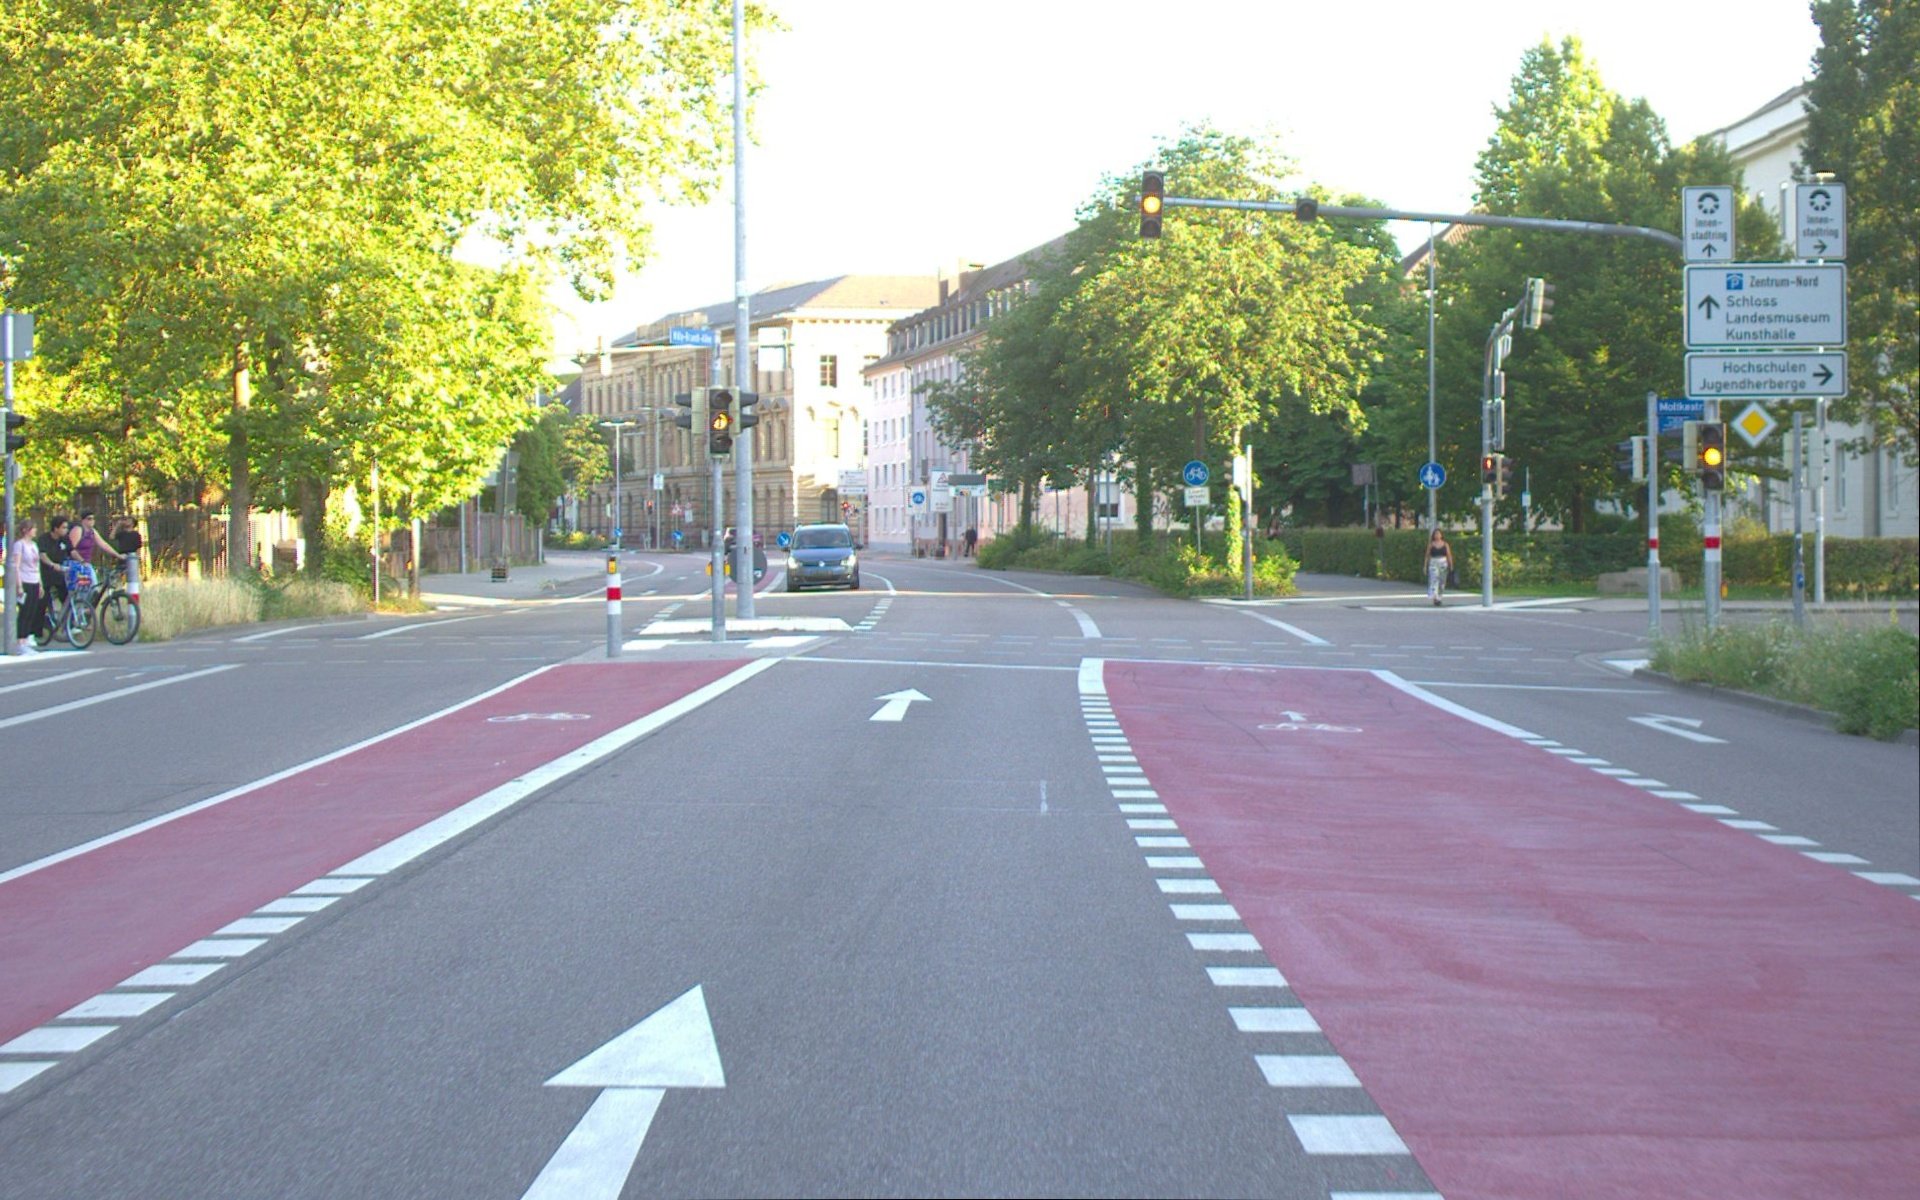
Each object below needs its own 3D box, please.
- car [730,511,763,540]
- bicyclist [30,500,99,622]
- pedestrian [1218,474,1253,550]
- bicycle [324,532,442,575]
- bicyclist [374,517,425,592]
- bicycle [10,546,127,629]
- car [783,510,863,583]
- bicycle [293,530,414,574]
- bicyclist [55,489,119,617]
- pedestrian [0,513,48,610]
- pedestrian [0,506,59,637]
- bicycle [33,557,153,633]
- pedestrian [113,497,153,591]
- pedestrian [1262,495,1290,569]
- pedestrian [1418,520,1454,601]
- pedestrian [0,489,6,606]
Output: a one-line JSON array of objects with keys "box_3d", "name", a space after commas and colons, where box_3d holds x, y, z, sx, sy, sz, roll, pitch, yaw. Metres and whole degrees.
[{"box_3d": [-12.140, -4.258, 195.727, 1.819, 1.583, 4.001, -1, 2, -3], "name": "car"}, {"box_3d": [-12.141, -0.530, 46.616, 0.638, 1.644, 0.629, 1, 1, 32], "name": "bicyclist"}, {"box_3d": [7.451, -2.378, 92.970, 0.870, 2.007, 0.722, 1, 1, 1], "name": "pedestrian"}, {"box_3d": [-12.564, -1.019, 74.952, 2.430, 0.921, 0.775, 0, 1, 2], "name": "bicycle"}, {"box_3d": [-12.216, -0.998, 74.927, 0.958, 1.625, 0.753, 0, 1, 2], "name": "bicyclist"}, {"box_3d": [-12.087, -0.179, 46.587, 1.566, 1.107, 0.632, 1, 1, 32], "name": "bicycle"}, {"box_3d": [-3.383, -1.346, 85.468, 1.849, 1.714, 4.296, -2, 1, -1], "name": "car"}, {"box_3d": [-12.976, -1.034, 73.599, 2.430, 0.921, 0.775, 0, 1, 2], "name": "bicycle"}, {"box_3d": [-12.247, -0.663, 48.214, 0.638, 1.774, 0.575, 1, 1, 32], "name": "bicyclist"}, {"box_3d": [-19.673, -0.813, 72.090, 0.802, 2.007, 0.994, 1, 1, 1], "name": "pedestrian"}, {"box_3d": [-12.012, -0.370, 44.388, 0.607, 1.690, 0.498, 0, 1, 3], "name": "pedestrian"}, {"box_3d": [-12.149, -0.077, 48.166, 1.769, 1.026, 0.578, 1, 1, 32], "name": "bicycle"}, {"box_3d": [-17.691, -1.196, 73.557, 0.640, 2.007, 0.701, 0, 1, 3], "name": "pedestrian"}, {"box_3d": [8.602, -1.857, 93.587, 0.635, 2.007, 0.720, 1, 1, -2], "name": "pedestrian"}, {"box_3d": [9.697, -0.815, 70.097, 0.599, 1.630, 0.691, 1, 2, 0], "name": "pedestrian"}, {"box_3d": [-16.891, -0.914, 59.284, 0.649, 2.007, 0.606, 0, 1, -37], "name": "pedestrian"}]
